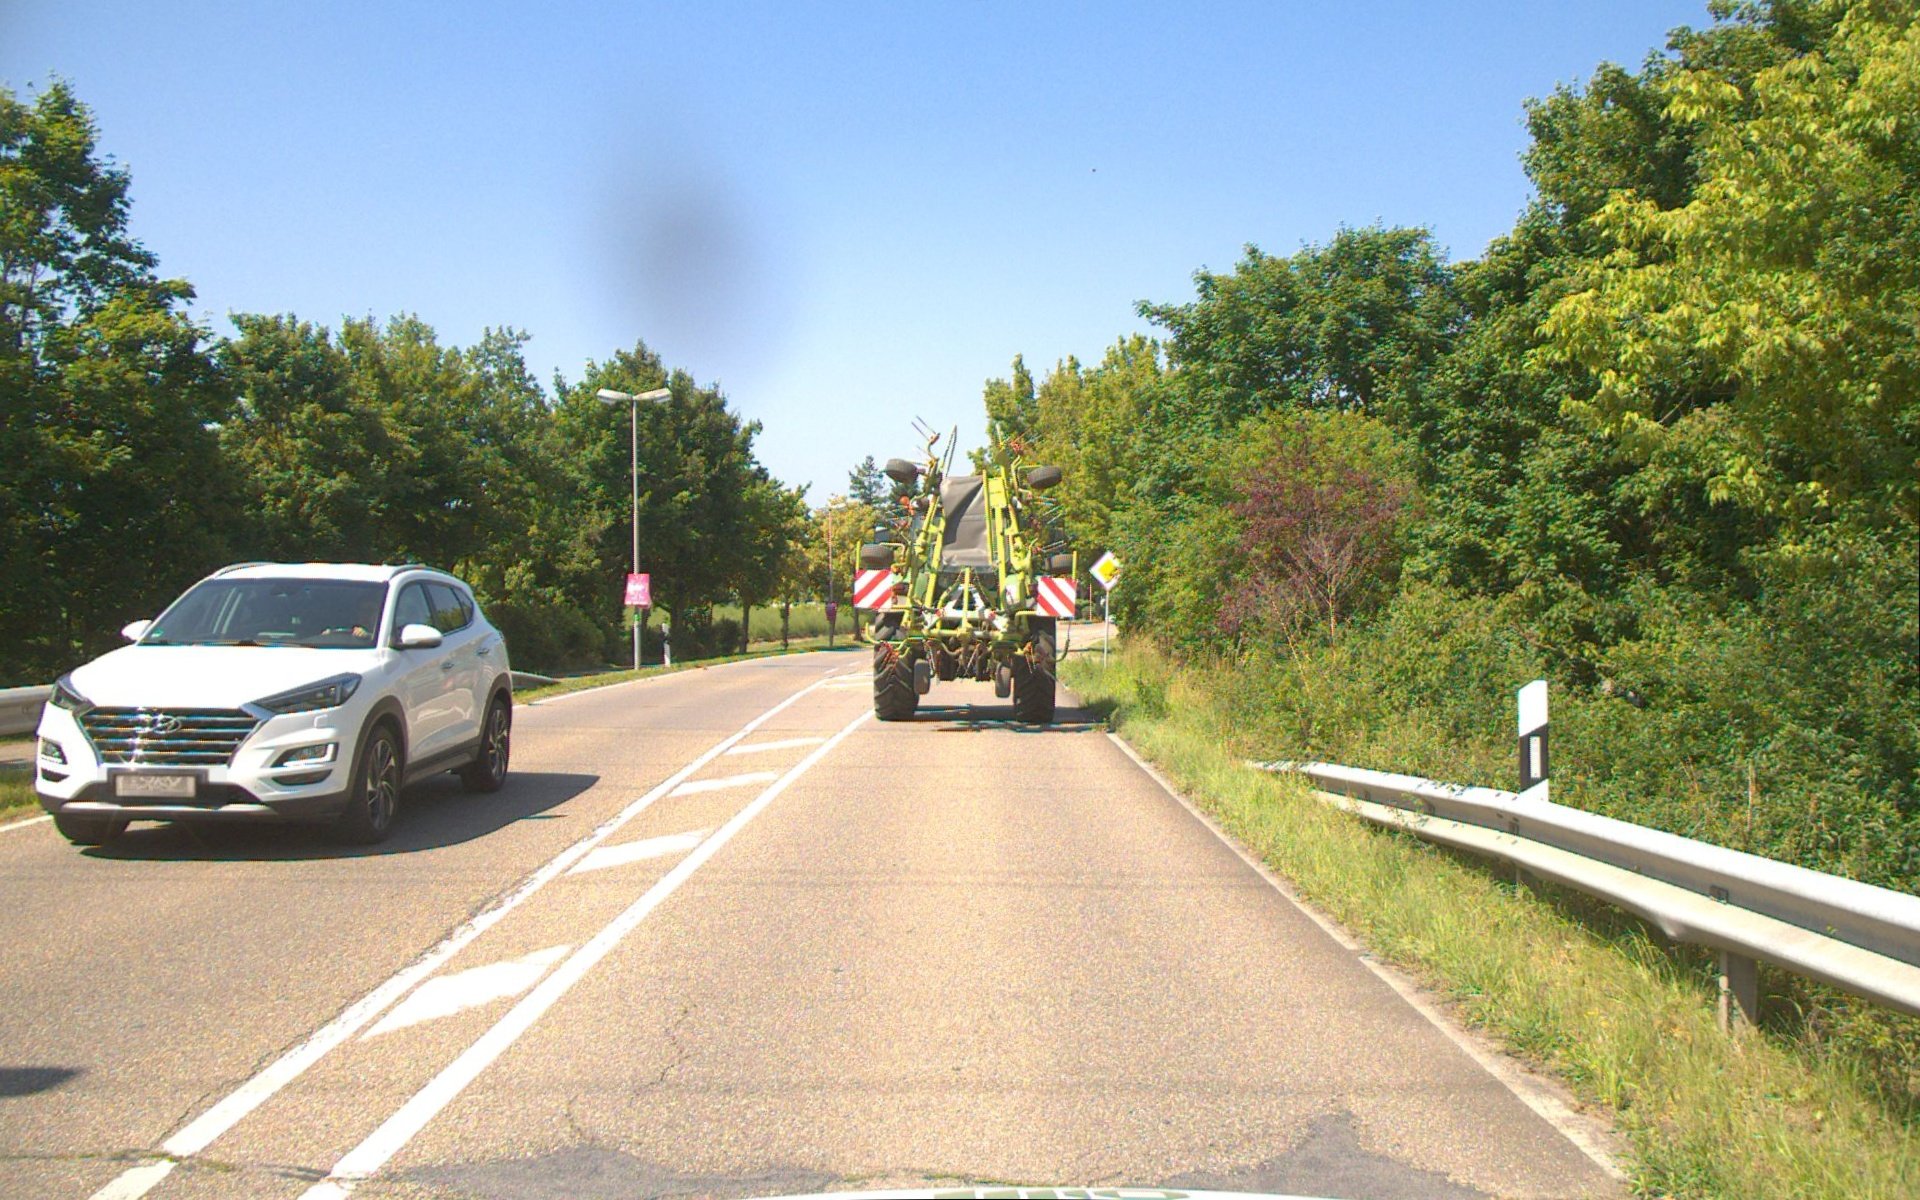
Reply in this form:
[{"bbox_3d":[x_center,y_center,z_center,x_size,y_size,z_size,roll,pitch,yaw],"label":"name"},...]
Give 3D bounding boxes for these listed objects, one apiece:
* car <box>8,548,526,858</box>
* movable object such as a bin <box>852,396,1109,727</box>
[{"bbox_3d":[-4.287,0.547,11.021,1.787,1.668,4.140,1,0,-2],"label":"car"},{"bbox_3d":[0.136,-0.439,22.963,2.795,3.603,9.698,1,0,-1],"label":"movable object such as a bin"}]
